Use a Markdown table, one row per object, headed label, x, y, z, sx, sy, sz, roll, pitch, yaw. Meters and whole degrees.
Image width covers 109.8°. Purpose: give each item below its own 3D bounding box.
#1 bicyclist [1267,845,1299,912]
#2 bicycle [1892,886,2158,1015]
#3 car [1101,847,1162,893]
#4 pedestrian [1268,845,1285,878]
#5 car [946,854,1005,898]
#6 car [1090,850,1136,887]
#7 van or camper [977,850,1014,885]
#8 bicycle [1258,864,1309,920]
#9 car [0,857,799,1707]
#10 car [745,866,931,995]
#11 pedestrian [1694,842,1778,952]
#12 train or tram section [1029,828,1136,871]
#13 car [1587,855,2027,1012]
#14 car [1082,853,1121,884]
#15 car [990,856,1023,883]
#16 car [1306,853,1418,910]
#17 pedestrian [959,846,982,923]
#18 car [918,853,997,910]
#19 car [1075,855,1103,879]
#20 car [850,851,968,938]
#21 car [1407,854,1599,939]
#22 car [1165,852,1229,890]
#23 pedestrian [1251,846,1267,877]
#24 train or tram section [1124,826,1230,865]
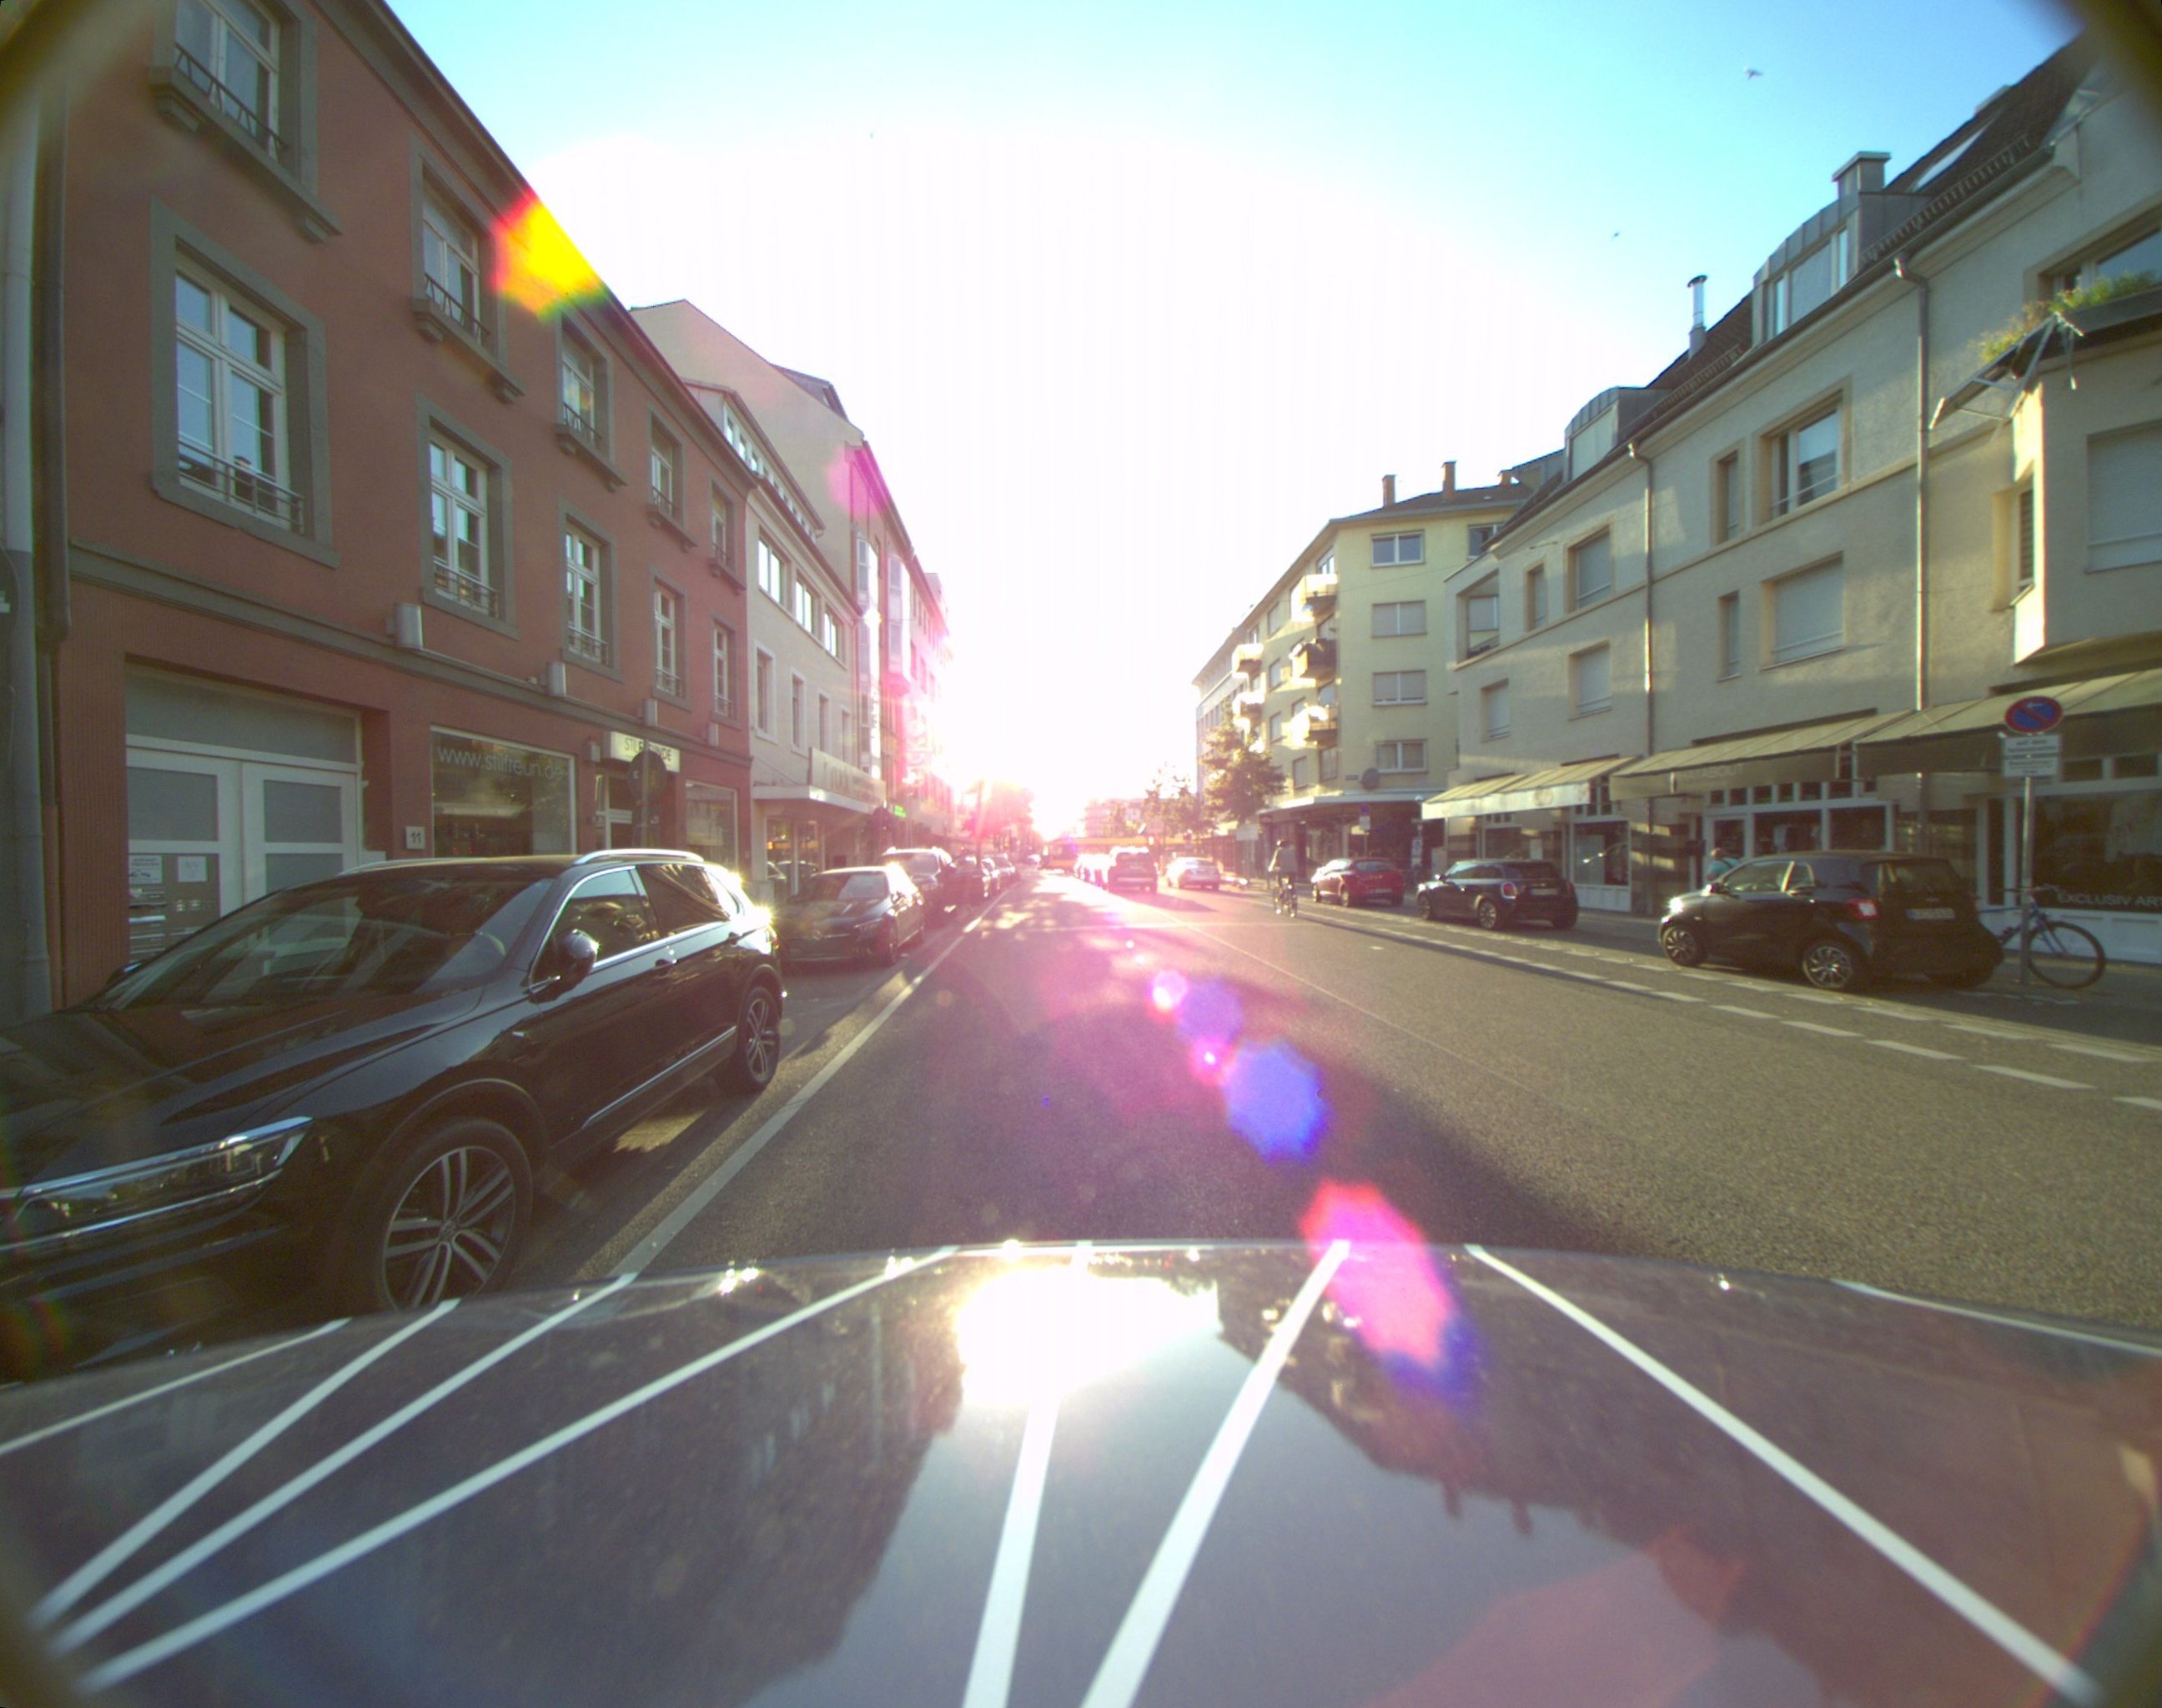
| label | x | y | z | sx | sy | sz | roll | pitch | yaw |
| --- | --- | --- | --- | --- | --- | --- | --- | --- | --- |
| bicyclist | 4.836 | 0.581 | 18.246 | 0.548 | 1.571 | 0.803 | -1 | 1 | 1 |
| bicycle | 10.528 | 1.011 | 8.615 | 0.560 | 1.199 | 1.977 | 0 | 1 | 0 |
| car | 1.896 | 0.581 | 29.780 | 1.843 | 1.639 | 4.298 | 1 | 0 | -4 |
| pedestrian | 10.933 | 0.419 | 42.555 | 0.720 | 1.781 | 0.666 | -1 | 1 | -2 |
| car | -4.259 | 0.829 | 31.229 | 1.999 | 1.645 | 4.478 | -1 | 0 | -3 |
| car | 1.491 | 0.658 | 36.871 | 1.843 | 1.639 | 4.299 | 1 | 0 | -3 |
| van or camper | -4.642 | 0.667 | 40.860 | 1.794 | 1.763 | 4.554 | -1 | 1 | -8 |
| bicycle | 4.872 | 0.884 | 18.380 | 0.665 | 1.235 | 2.130 | 1 | 0 | 1 |
| car | -3.013 | 0.922 | 3.612 | 1.799 | 1.688 | 4.458 | -3 | 1 | -3 |
| car | -3.647 | 1.040 | 12.268 | 1.689 | 1.479 | 4.409 | -3 | 1 | -3 |
| pedestrian | 10.662 | 0.675 | 12.394 | 0.720 | 1.724 | 0.738 | -1 | 1 | -2 |
| train or tram section | 0.280 | -0.512 | 75.539 | 10.456 | 3.788 | 3.139 | -3 | 1 | -32 |
| car | 8.930 | 0.829 | 9.922 | 1.794 | 1.571 | 3.965 | -1 | 1 | -5 |
| car | 1.101 | 0.779 | 43.497 | 1.843 | 1.639 | 4.298 | 1 | 0 | -4 |
| car | -4.527 | 0.920 | 46.875 | 1.694 | 1.494 | 3.786 | -1 | 1 | -1 |
| car | 8.405 | 0.763 | 23.115 | 1.794 | 1.571 | 3.785 | -1 | 1 | -4 |
| pedestrian | -2.698 | 0.737 | 18.515 | 0.485 | 1.847 | 0.539 | -1 | 1 | -10 |
| car | -4.046 | 0.847 | 25.701 | 1.999 | 1.645 | 4.626 | -2 | 1 | -2 |
| car | 0.487 | 0.822 | 49.832 | 1.503 | 1.426 | 4.026 | 1 | 0 | -4 |
| car | -4.020 | 0.842 | 18.685 | 1.999 | 1.767 | 5.316 | -2 | 1 | -4 |
| car | 8.784 | 0.796 | 16.226 | 1.794 | 1.571 | 3.785 | -1 | 1 | -4 |
| car | 5.239 | 0.723 | 34.909 | 1.999 | 1.595 | 4.403 | 0 | 0 | -3 |
| pedestrian | 10.428 | 0.416 | 44.585 | 0.720 | 1.781 | 0.666 | -1 | 1 | -2 |
| train or tram section | 10.440 | -0.971 | 81.857 | 11.863 | 3.788 | 3.139 | -3 | 1 | -32 |
